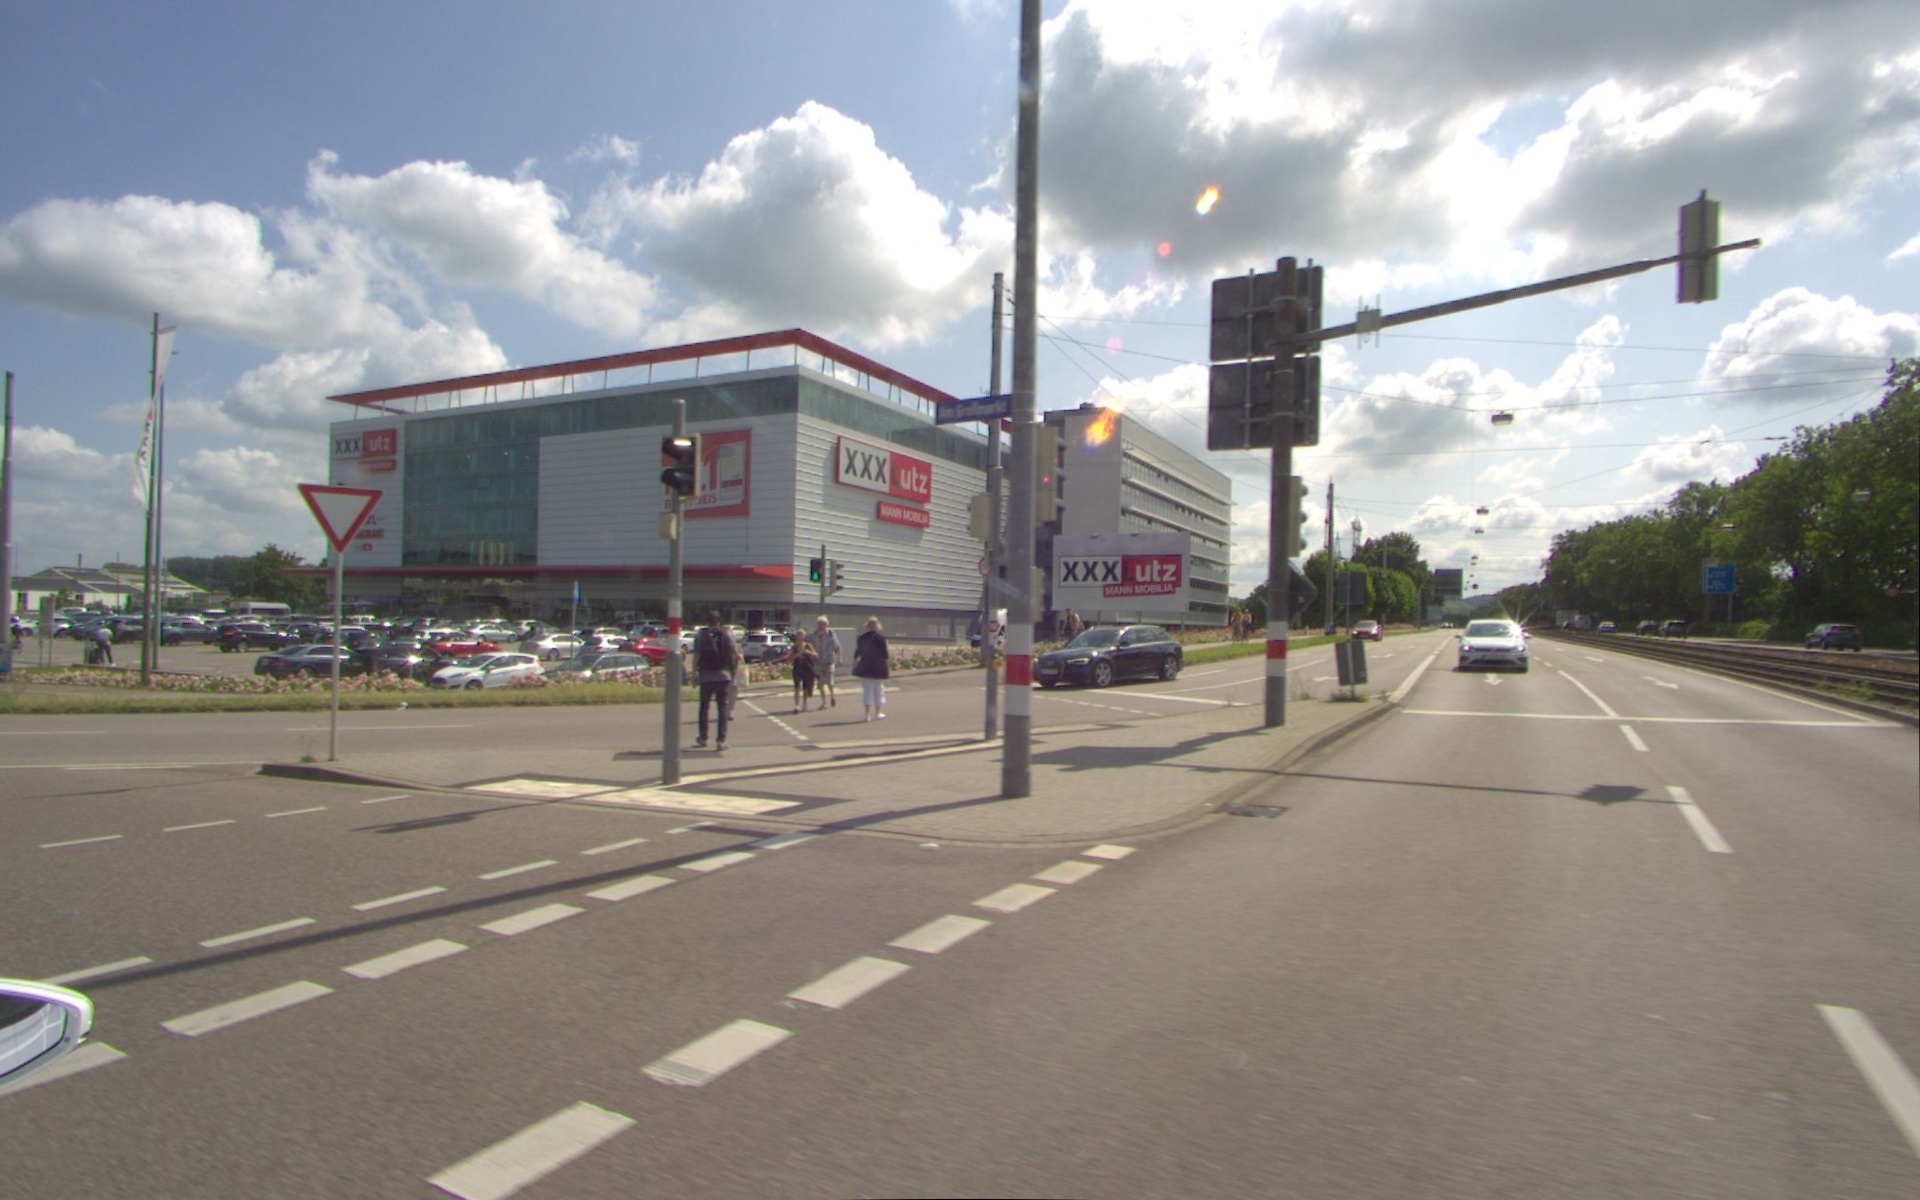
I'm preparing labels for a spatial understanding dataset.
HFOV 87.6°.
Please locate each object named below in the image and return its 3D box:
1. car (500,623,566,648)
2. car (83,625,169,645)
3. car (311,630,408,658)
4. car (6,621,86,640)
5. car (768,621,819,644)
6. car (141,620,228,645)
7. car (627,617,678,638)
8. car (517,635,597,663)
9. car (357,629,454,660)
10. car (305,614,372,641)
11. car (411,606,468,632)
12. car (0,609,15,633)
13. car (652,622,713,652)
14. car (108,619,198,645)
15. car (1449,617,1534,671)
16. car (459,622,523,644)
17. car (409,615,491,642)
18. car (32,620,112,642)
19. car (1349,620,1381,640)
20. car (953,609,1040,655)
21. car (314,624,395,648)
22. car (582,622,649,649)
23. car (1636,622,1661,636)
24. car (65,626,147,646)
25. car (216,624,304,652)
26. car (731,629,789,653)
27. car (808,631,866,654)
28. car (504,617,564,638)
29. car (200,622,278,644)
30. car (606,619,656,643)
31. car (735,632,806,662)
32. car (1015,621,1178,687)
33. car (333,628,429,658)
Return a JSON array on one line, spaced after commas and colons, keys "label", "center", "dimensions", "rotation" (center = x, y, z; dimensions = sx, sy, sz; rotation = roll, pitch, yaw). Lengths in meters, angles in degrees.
[{"label": "car", "center": [-29.331, 2.445, 68.819], "dimensions": [1.668, 1.608, 4.015], "rotation": [1, -1, 27]}, {"label": "car", "center": [-58.976, 2.456, 70.875], "dimensions": [1.736, 1.342, 4.357], "rotation": [1, 0, 27]}, {"label": "car", "center": [-33.703, 2.424, 56.291], "dimensions": [1.819, 1.380, 4.353], "rotation": [1, 0, 30]}, {"label": "car", "center": [-69.895, 2.302, 76.632], "dimensions": [1.862, 1.407, 4.184], "rotation": [1, 0, 25]}, {"label": "car", "center": [-13.419, 2.613, 80.833], "dimensions": [1.970, 1.761, 3.984], "rotation": [1, -2, 30]}, {"label": "car", "center": [-50.794, 2.101, 65.644], "dimensions": [1.736, 1.573, 4.181], "rotation": [1, 0, 27]}, {"label": "car", "center": [-26.954, 2.420, 87.894], "dimensions": [1.968, 1.745, 3.988], "rotation": [1, -2, 27]}, {"label": "car", "center": [-22.381, 2.672, 55.751], "dimensions": [1.578, 1.380, 4.019], "rotation": [1, 0, 30]}, {"label": "car", "center": [-29.610, 2.344, 53.598], "dimensions": [1.657, 1.528, 4.353], "rotation": [0, -1, 30]}, {"label": "car", "center": [-49.090, 2.181, 79.135], "dimensions": [1.969, 2.039, 3.986], "rotation": [1, -2, 29]}, {"label": "car", "center": [-45.242, 1.661, 87.152], "dimensions": [1.969, 2.039, 3.986], "rotation": [1, -2, 28]}, {"label": "car", "center": [-82.814, 1.758, 84.561], "dimensions": [1.969, 2.040, 3.983], "rotation": [0, 0, 29]}, {"label": "car", "center": [-19.956, 2.687, 72.106], "dimensions": [1.970, 2.039, 3.985], "rotation": [-1, -3, 29]}, {"label": "car", "center": [-54.585, 2.135, 67.806], "dimensions": [1.998, 1.595, 4.357], "rotation": [1, 0, 27]}, {"label": "car", "center": [15.448, 1.247, 29.299], "dimensions": [1.981, 1.431, 4.484], "rotation": [0, -1, 25]}, {"label": "car", "center": [-34.734, 2.448, 74.276], "dimensions": [1.678, 1.530, 4.156], "rotation": [1, -2, 25]}, {"label": "car", "center": [-31.106, 1.759, 61.151], "dimensions": [1.798, 1.527, 4.148], "rotation": [1, -2, 29]}, {"label": "car", "center": [-65.829, 2.304, 74.270], "dimensions": [1.968, 1.590, 3.989], "rotation": [0, -3, 26]}, {"label": "car", "center": [28.277, 2.100, 69.843], "dimensions": [1.721, 1.377, 4.235], "rotation": [-1, -2, 26]}, {"label": "car", "center": [2.791, 2.377, 73.956], "dimensions": [3.077, 3.194, 7.869], "rotation": [-1, -2, 31]}, {"label": "car", "center": [-39.625, 2.383, 65.631], "dimensions": [1.732, 1.446, 4.287], "rotation": [2, -1, 28]}, {"label": "car", "center": [-23.091, 2.418, 67.265], "dimensions": [1.970, 1.761, 3.983], "rotation": [-1, -2, 30]}, {"label": "car", "center": [72.255, 3.029, 105.138], "dimensions": [1.612, 1.382, 3.733], "rotation": [1, -2, 26]}, {"label": "car", "center": [-61.121, 2.543, 71.717], "dimensions": [1.662, 1.342, 4.181], "rotation": [0, -1, 28]}, {"label": "car", "center": [-42.026, 2.272, 60.221], "dimensions": [1.713, 1.551, 4.054], "rotation": [0, -1, 25]}, {"label": "car", "center": [-13.725, 2.864, 68.837], "dimensions": [1.888, 1.549, 3.989], "rotation": [1, -2, 26]}, {"label": "car", "center": [-8.083, 2.819, 66.140], "dimensions": [1.889, 1.459, 3.989], "rotation": [0, -3, 26]}, {"label": "car", "center": [-34.109, 2.231, 80.235], "dimensions": [1.679, 1.530, 4.339], "rotation": [1, -2, 28]}, {"label": "car", "center": [-52.315, 2.441, 72.720], "dimensions": [1.732, 1.482, 4.240], "rotation": [1, -2, 27]}, {"label": "car", "center": [-29.302, 2.809, 89.369], "dimensions": [1.968, 2.039, 3.988], "rotation": [1, -2, 27]}, {"label": "car", "center": [-10.750, 2.630, 57.040], "dimensions": [1.823, 1.608, 4.226], "rotation": [1, -1, 25]}, {"label": "car", "center": [3.484, 1.276, 25.030], "dimensions": [4.161, 1.502, 1.898], "rotation": [1, -1, -44]}, {"label": "car", "center": [-31.727, 2.311, 54.955], "dimensions": [1.602, 1.461, 4.353], "rotation": [1, 0, 30]}]
